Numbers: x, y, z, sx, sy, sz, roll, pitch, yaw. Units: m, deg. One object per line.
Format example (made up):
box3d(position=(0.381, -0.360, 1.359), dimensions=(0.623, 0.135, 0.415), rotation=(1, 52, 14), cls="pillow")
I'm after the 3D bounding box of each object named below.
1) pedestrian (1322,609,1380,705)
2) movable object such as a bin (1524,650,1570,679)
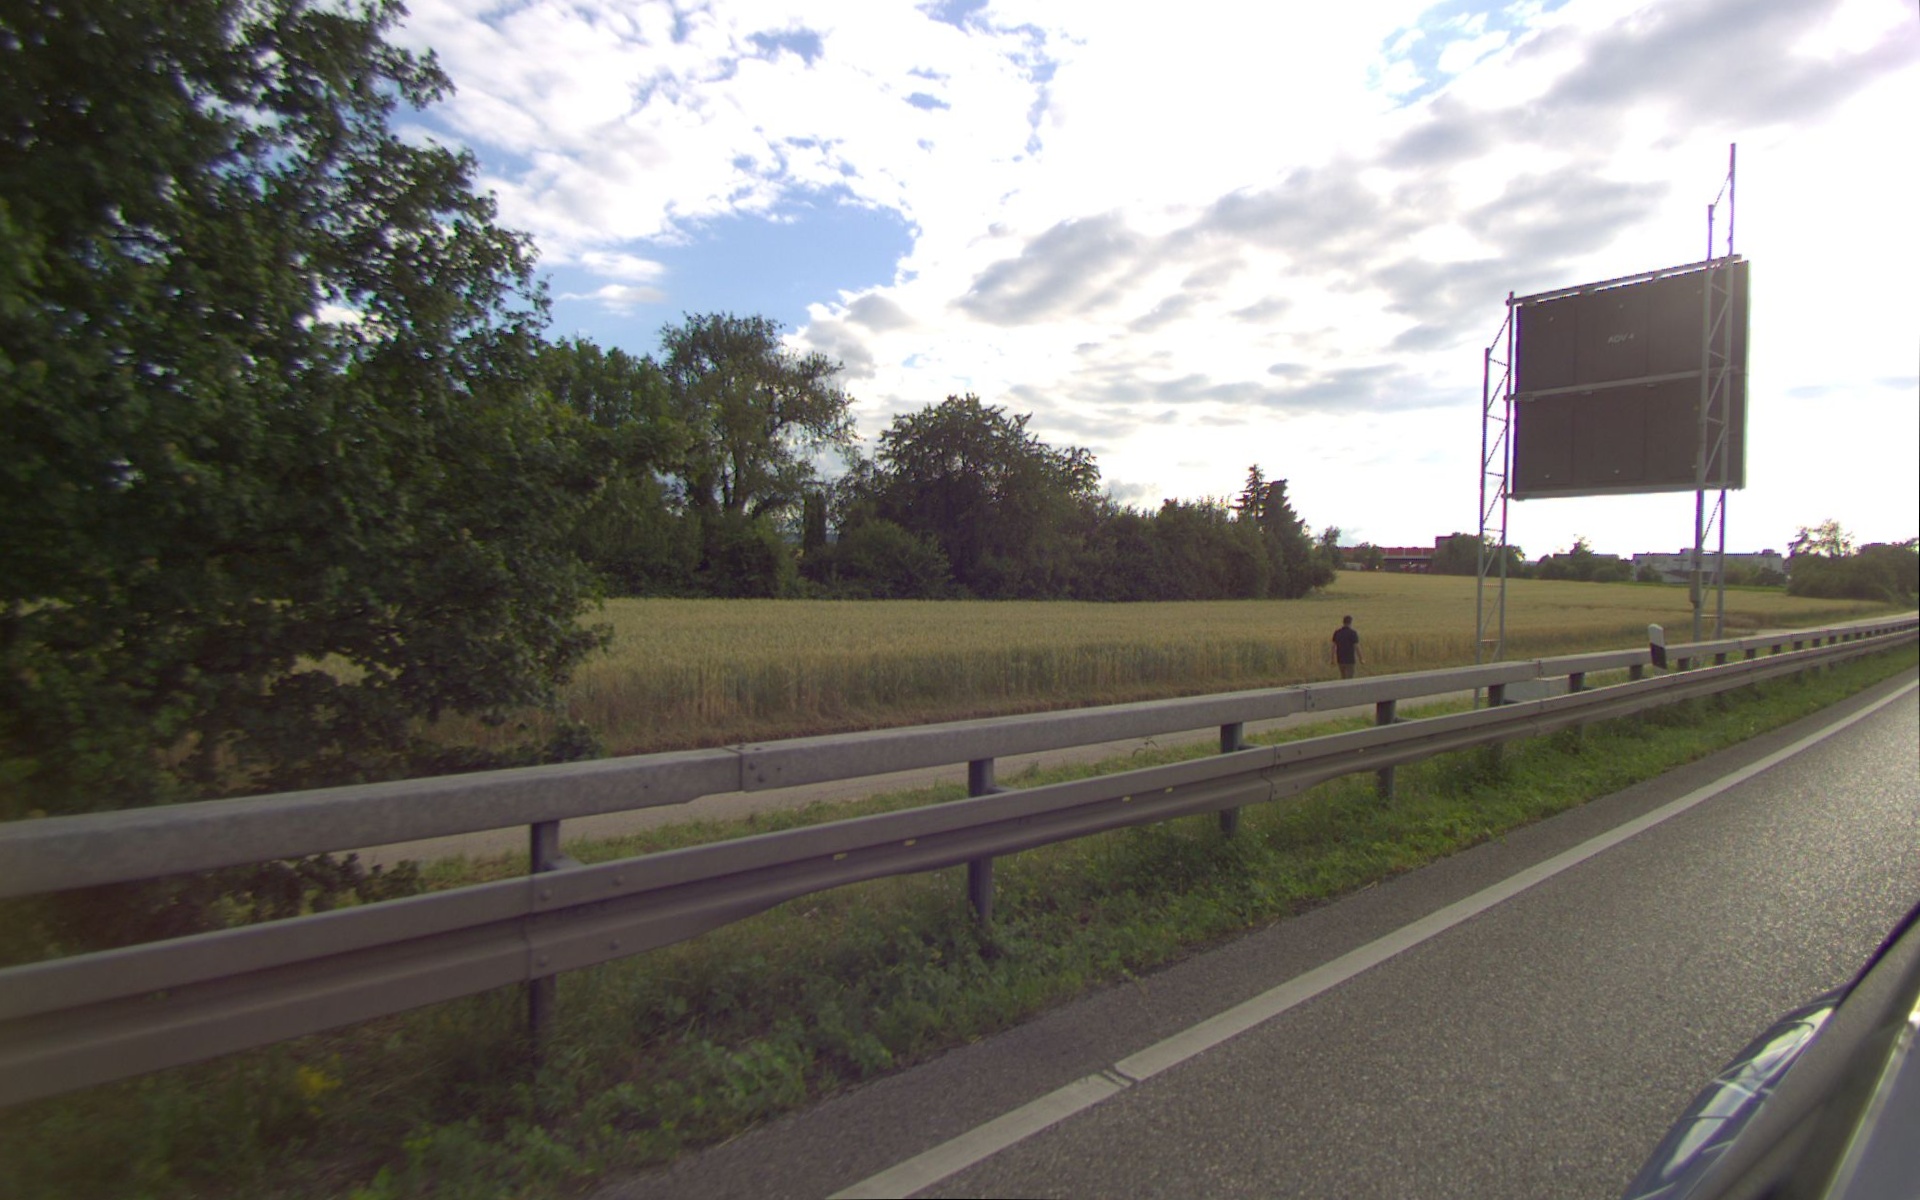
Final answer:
box3d(position=(8.071, 1.148, 20.898), dimensions=(0.924, 1.891, 0.772), rotation=(-1, -1, -42), cls="pedestrian")
box3d(position=(15.701, 1.716, 27.072), dimensions=(1.214, 0.654, 0.733), rotation=(-1, 0, -42), cls="movable object such as a bin")
